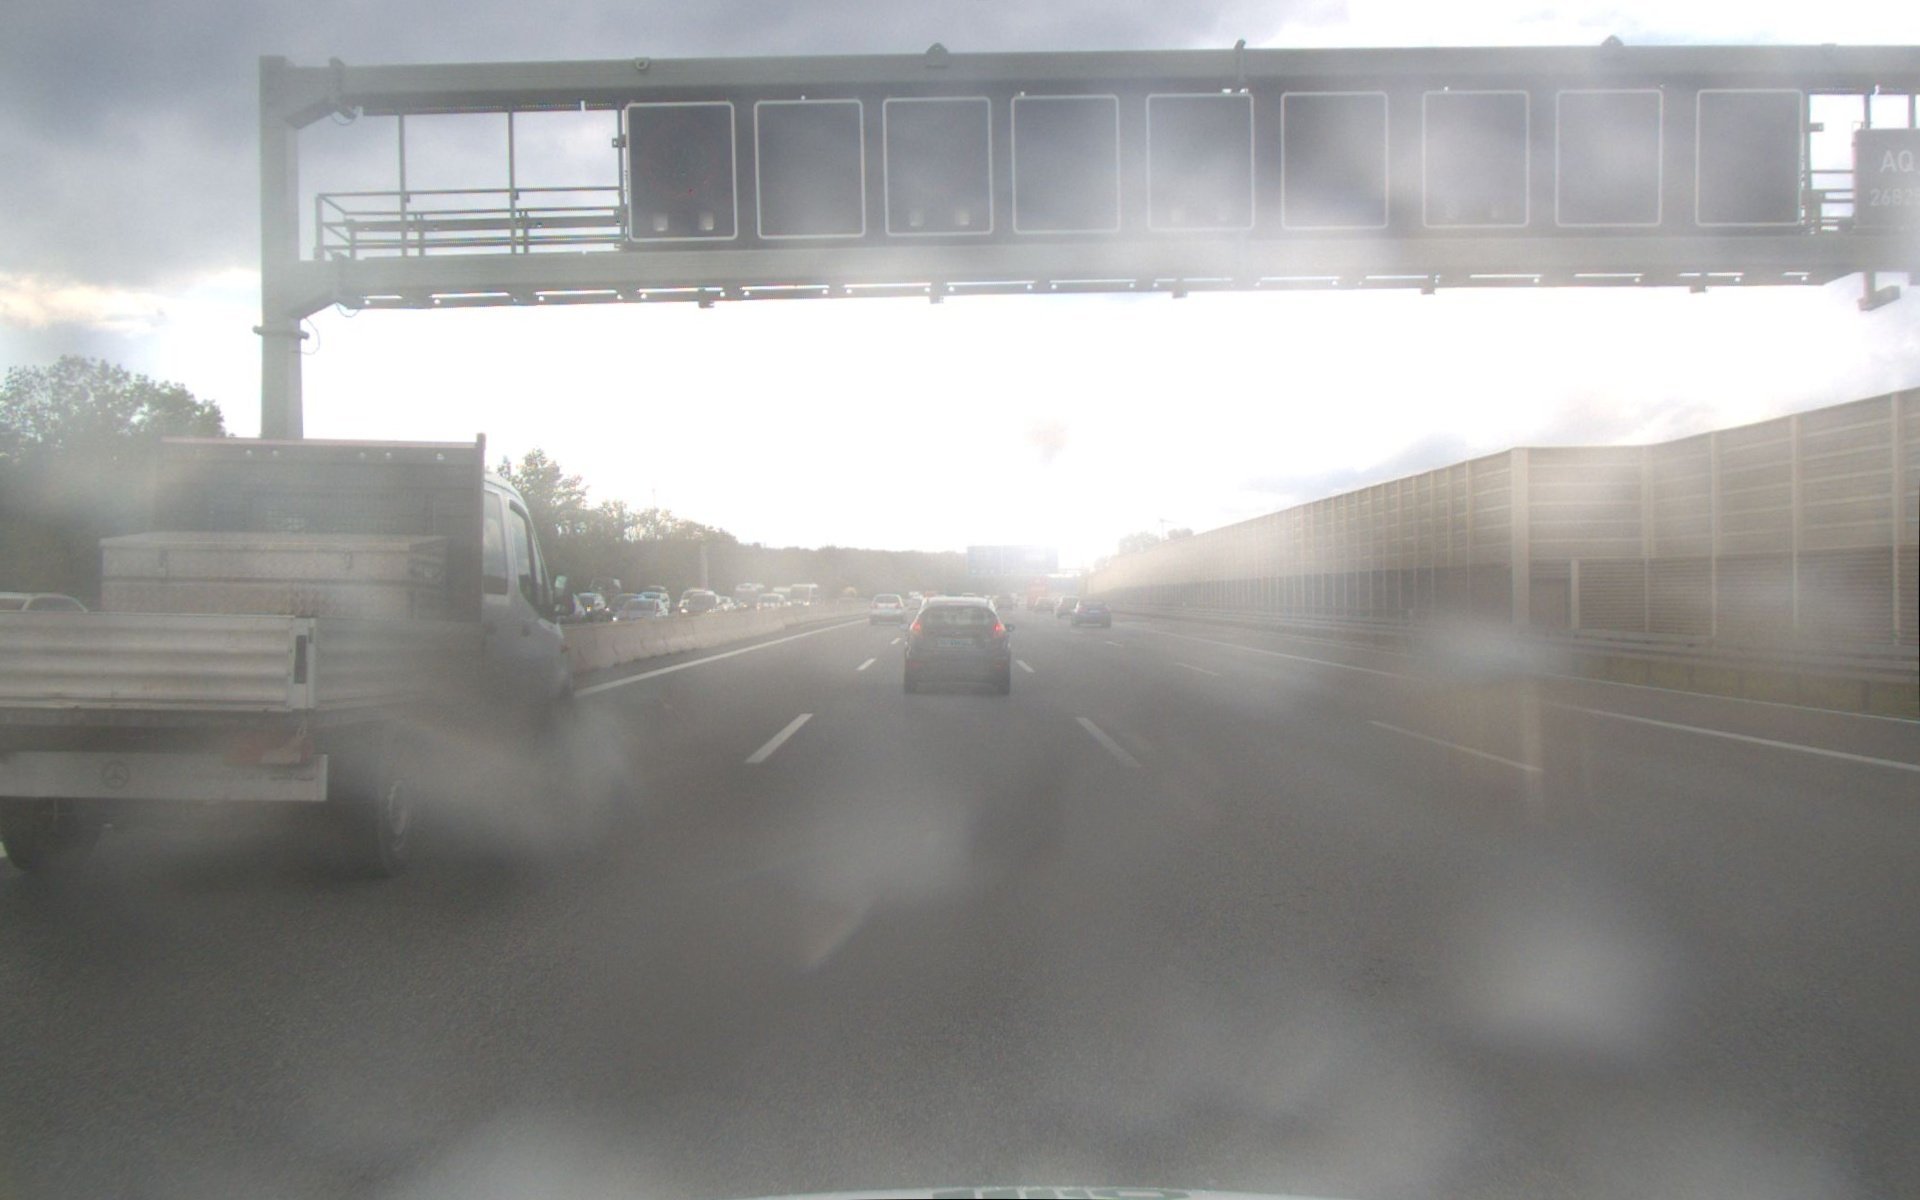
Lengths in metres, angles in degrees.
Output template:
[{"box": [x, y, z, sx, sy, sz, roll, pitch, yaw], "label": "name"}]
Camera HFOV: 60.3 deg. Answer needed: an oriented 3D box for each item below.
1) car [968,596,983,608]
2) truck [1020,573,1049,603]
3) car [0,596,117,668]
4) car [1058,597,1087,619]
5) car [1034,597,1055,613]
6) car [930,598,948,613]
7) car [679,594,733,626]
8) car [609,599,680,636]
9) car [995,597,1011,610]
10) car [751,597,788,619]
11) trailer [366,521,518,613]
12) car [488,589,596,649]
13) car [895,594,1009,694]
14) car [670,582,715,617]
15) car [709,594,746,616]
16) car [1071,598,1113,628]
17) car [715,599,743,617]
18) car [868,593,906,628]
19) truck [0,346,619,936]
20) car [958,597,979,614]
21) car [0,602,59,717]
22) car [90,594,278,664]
[{"box": [2.106, 0.332, 224.761, 1.928, 1.588, 4.432, 0, -1, -1], "label": "car"}, {"box": [9.218, -1.499, 205.860, 3.088, 3.664, 12.700, 1, 0, 0], "label": "truck"}, {"box": [-21.435, 0.681, 37.545, 2.018, 1.517, 4.997, 0, 0, 0], "label": "car"}, {"box": [8.126, 0.587, 119.853, 1.844, 1.569, 4.433, 0, -1, 1], "label": "car"}, {"box": [8.100, 0.491, 159.148, 1.844, 1.588, 4.433, 0, -1, 0], "label": "car"}, {"box": [-2.366, 0.607, 186.084, 1.927, 1.588, 4.433, 0, -1, 0], "label": "car"}, {"box": [-13.587, 0.505, 88.704, 2.018, 1.674, 5.380, 0, 0, 0], "label": "car"}, {"box": [-13.867, 0.731, 72.967, 2.018, 1.561, 5.470, 0, 0, 0], "label": "car"}, {"box": [5.214, 0.433, 201.340, 1.927, 1.588, 4.433, 0, -1, 0], "label": "car"}, {"box": [-13.768, 0.545, 119.716, 2.018, 1.561, 5.470, 0, 0, 0], "label": "car"}, {"box": [-25.198, -1.541, 81.506, 2.871, 4.102, 14.453, 0, 0, 0], "label": "trailer"}, {"box": [-14.093, 0.604, 56.190, 2.018, 1.913, 6.328, 0, 0, 0], "label": "car"}, {"box": [-0.168, 0.642, 26.639, 1.682, 1.441, 4.277, 0, 1, -2], "label": "car"}, {"box": [-17.932, -0.010, 111.158, 2.018, 2.275, 5.894, 0, 0, 0], "label": "car"}, {"box": [-17.204, 0.346, 122.562, 2.018, 1.561, 4.519, 0, 0, 0], "label": "car"}, {"box": [6.649, 0.645, 83.610, 1.909, 1.443, 4.232, 0, 0, 1], "label": "car"}, {"box": [-20.720, 0.718, 148.272, 1.687, 1.490, 4.520, 1, 0, 2], "label": "car"}, {"box": [-3.606, 0.479, 82.168, 1.682, 1.652, 4.278, 0, 1, -1], "label": "car"}, {"box": [-3.956, 0.133, 10.541, 2.260, 2.482, 7.146, 1, 1, -2], "label": "truck"}, {"box": [0.830, 0.549, 160.929, 1.927, 1.588, 4.433, 0, -1, 0], "label": "car"}, {"box": [-13.694, 0.779, 20.739, 2.018, 1.517, 4.997, 0, 0, 0], "label": "car"}, {"box": [-18.063, 0.635, 38.783, 2.018, 1.517, 4.997, 0, 0, 0], "label": "car"}]
